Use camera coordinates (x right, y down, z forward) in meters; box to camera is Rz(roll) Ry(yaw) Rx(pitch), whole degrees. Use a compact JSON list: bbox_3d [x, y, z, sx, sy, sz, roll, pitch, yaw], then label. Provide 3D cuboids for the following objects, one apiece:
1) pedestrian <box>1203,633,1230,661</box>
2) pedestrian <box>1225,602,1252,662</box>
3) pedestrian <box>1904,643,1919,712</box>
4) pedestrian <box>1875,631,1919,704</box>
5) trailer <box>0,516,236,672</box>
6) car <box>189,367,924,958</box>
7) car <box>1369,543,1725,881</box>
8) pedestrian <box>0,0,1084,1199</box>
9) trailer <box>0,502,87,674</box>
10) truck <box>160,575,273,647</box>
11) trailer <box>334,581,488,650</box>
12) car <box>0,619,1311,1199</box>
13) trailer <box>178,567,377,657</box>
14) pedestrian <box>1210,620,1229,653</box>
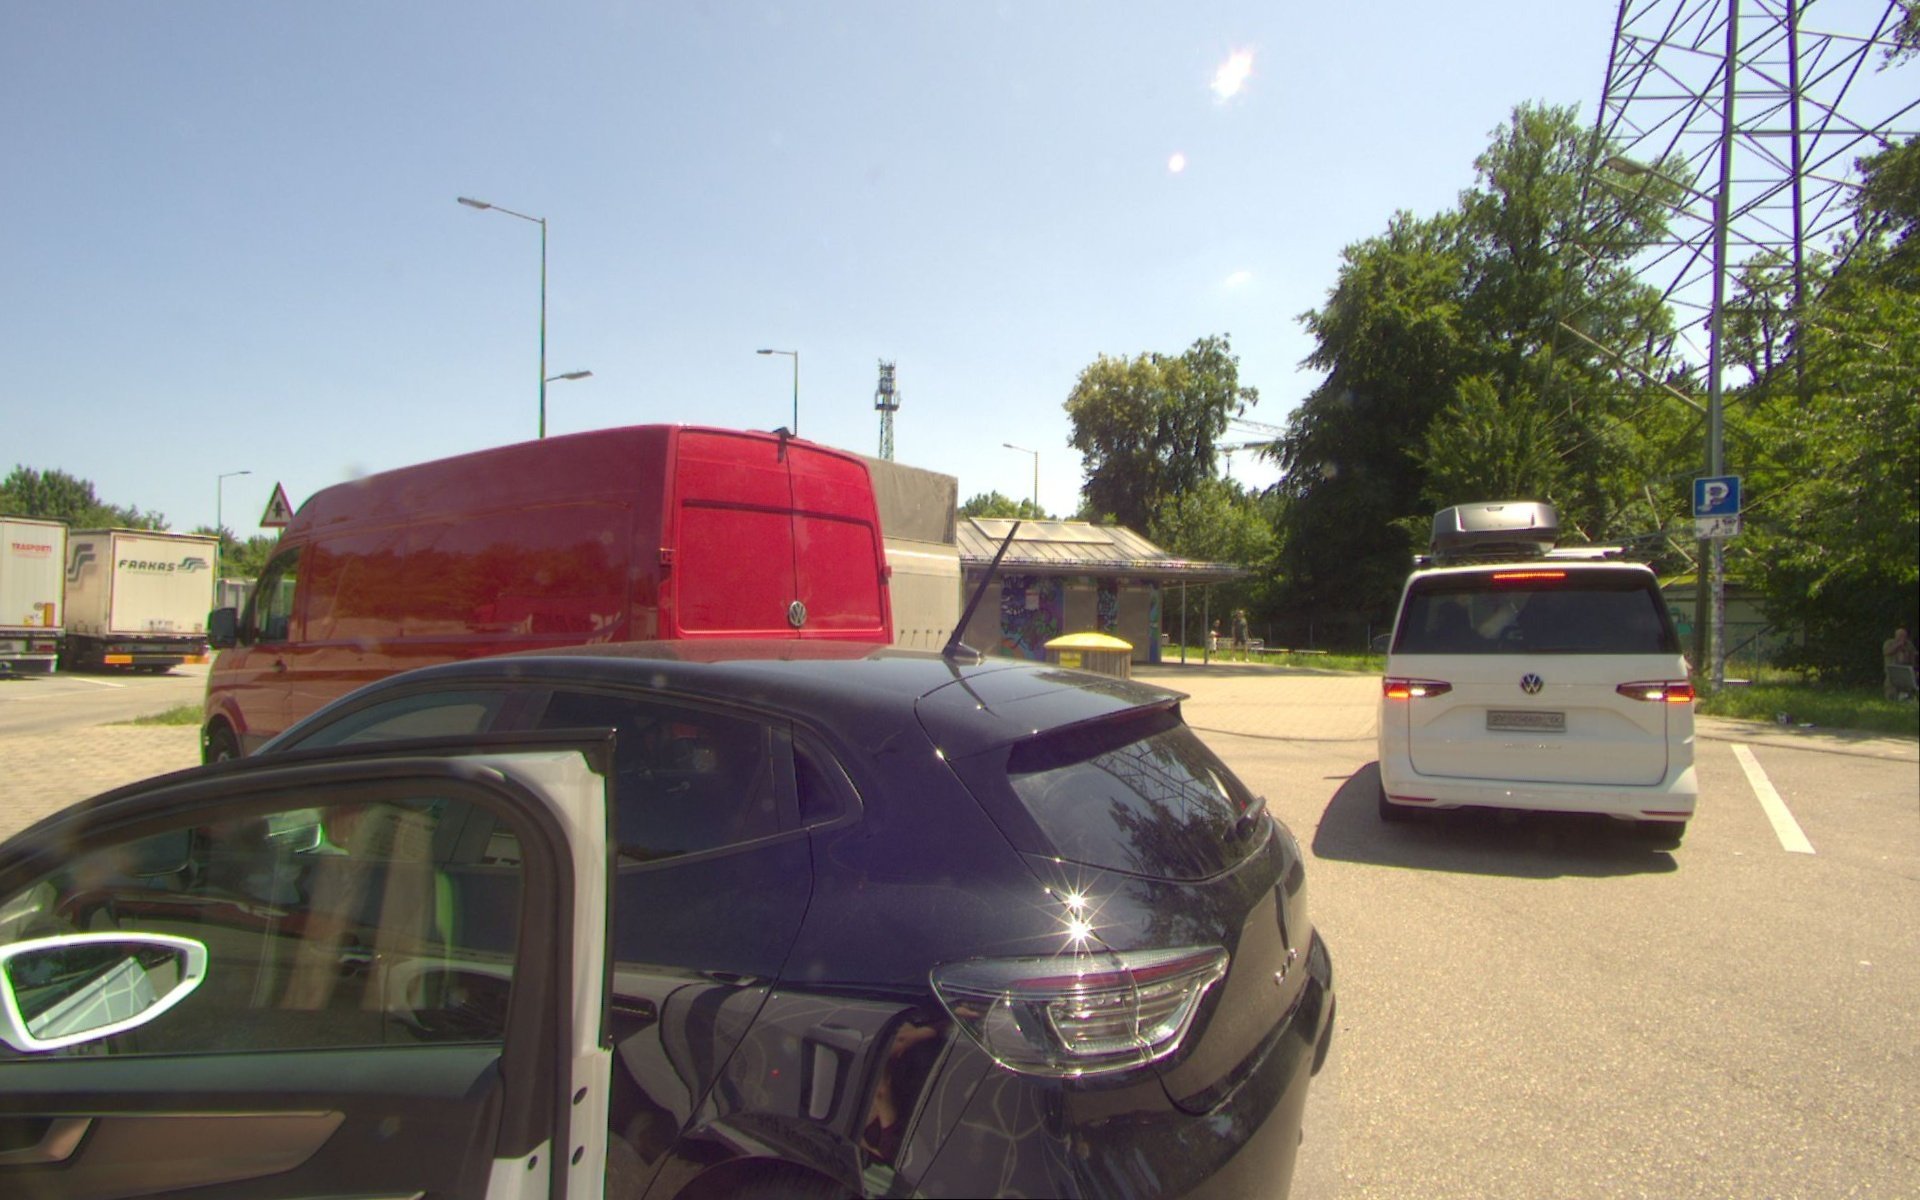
[{"bbox_3d":[8.963,1.644,35.025,0.634,0.960,0.778,0,-1,-10],"label":"pedestrian"},{"bbox_3d":[9.762,1.127,35.077,0.634,2.067,0.778,0,-1,-10],"label":"pedestrian"},{"bbox_3d":[17.180,1.359,17.485,0.876,1.192,0.666,-1,-2,32],"label":"pedestrian"},{"bbox_3d":[18.708,1.328,19.887,0.660,1.422,0.647,-1,-1,33],"label":"pedestrian"},{"bbox_3d":[-27.669,-0.189,31.640,13.523,4.185,2.835,1,-2,33],"label":"trailer"},{"bbox_3d":[-3.364,0.312,7.367,6.310,2.731,2.060,0,-1,37],"label":"car"},{"bbox_3d":[4.486,0.698,8.210,1.881,1.937,4.550,-1,-1,25],"label":"car"},{"bbox_3d":[-0.410,0.596,0.985,0.878,1.865,0.618,-1,-1,35],"label":"pedestrian"},{"bbox_3d":[-28.978,-0.368,28.159,13.523,4.185,2.835,1,-2,33],"label":"trailer"},{"bbox_3d":[-37.703,0.570,50.750,5.405,3.407,2.847,1,-2,34],"label":"truck"},{"bbox_3d":[-36.058,0.918,65.444,13.530,4.101,2.834,1,-2,34],"label":"trailer"},{"bbox_3d":[-1.072,0.837,2.916,3.757,1.501,1.736,0,-1,27],"label":"car"},{"bbox_3d":[-32.395,0.486,47.151,13.530,3.764,2.834,1,-2,34],"label":"trailer"},{"bbox_3d":[12.027,1.690,46.434,0.635,1.547,0.564,0,-1,-20],"label":"pedestrian"}]
